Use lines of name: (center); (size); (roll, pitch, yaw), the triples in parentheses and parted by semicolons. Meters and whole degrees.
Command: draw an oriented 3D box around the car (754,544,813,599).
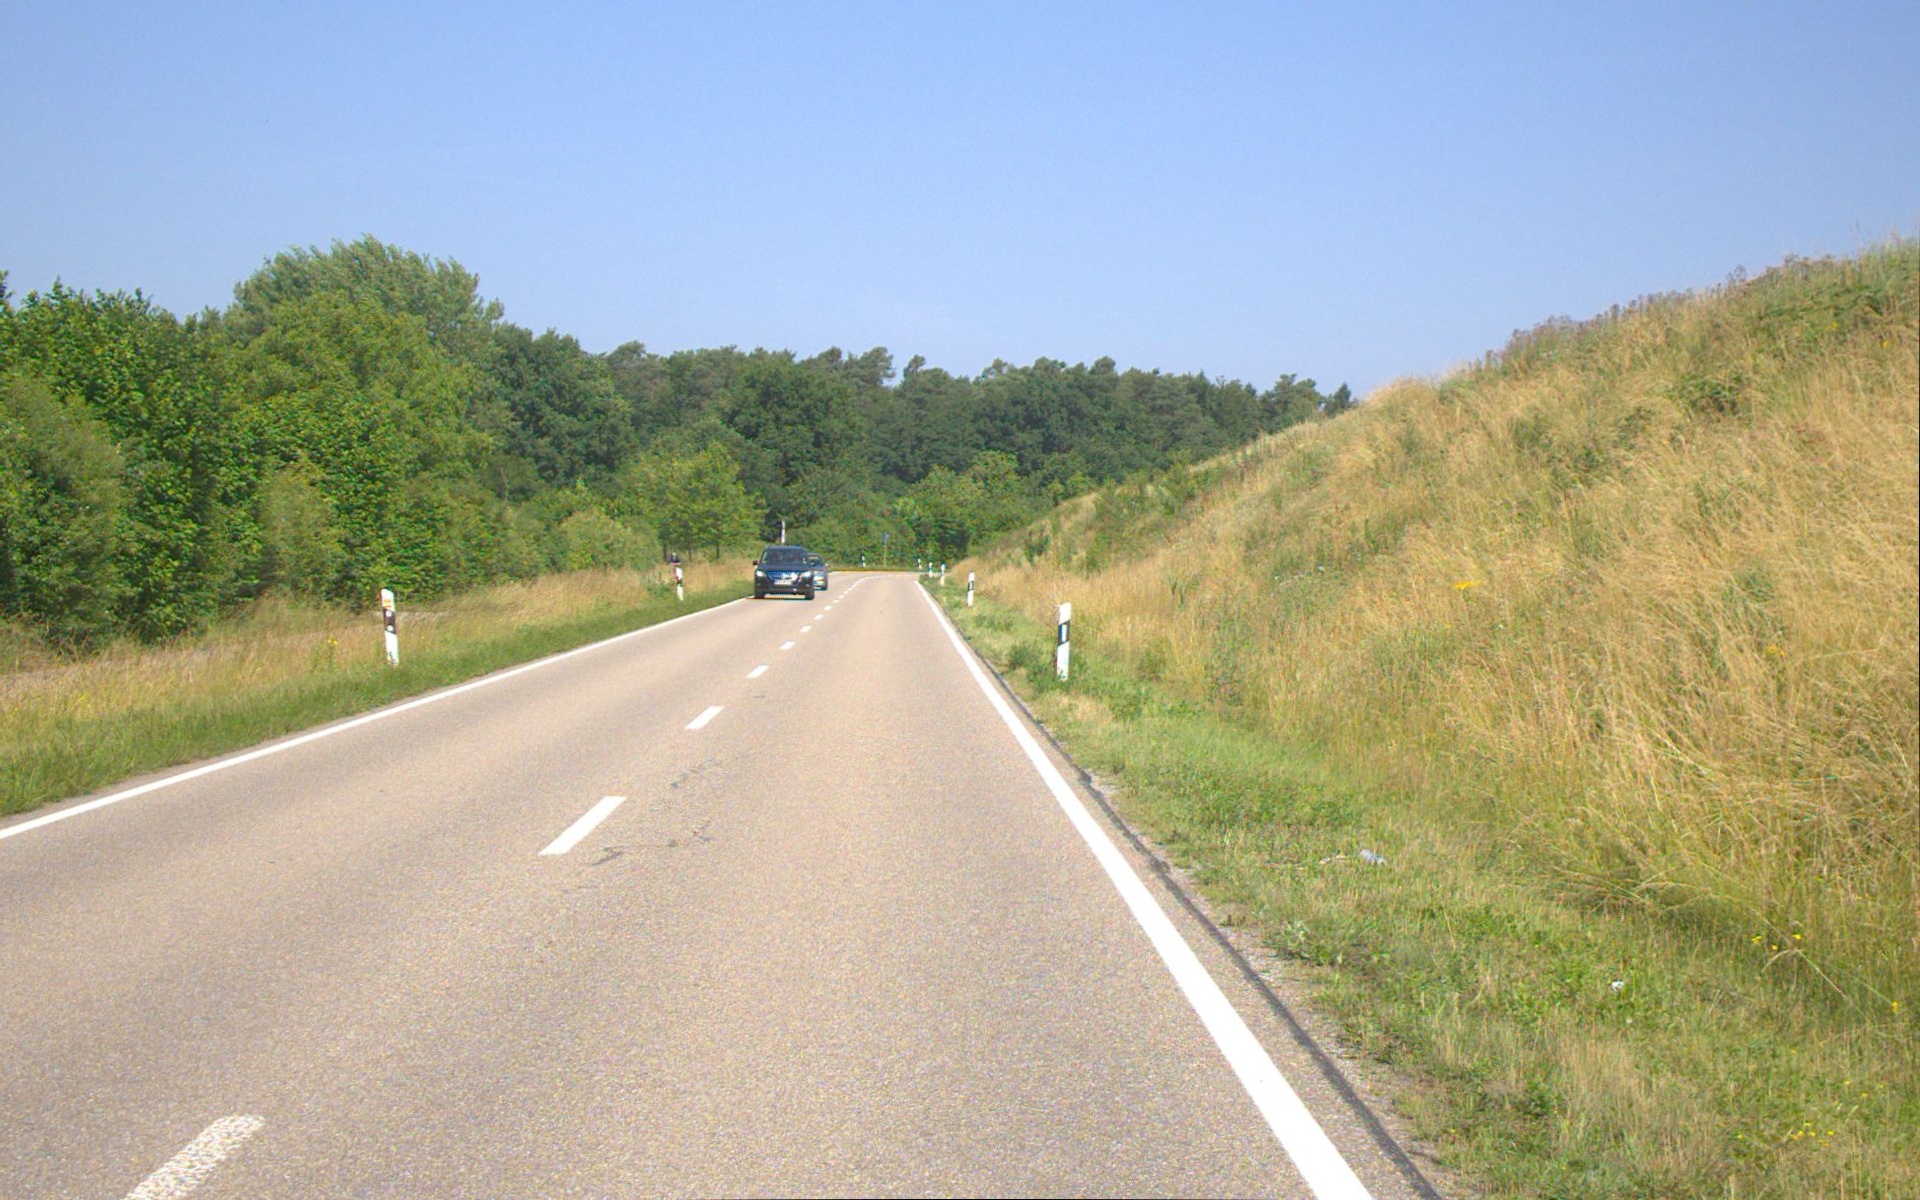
car: (-5.441, -0.907, 106.448); (1.716, 1.641, 3.915); (1, 1, -2)
